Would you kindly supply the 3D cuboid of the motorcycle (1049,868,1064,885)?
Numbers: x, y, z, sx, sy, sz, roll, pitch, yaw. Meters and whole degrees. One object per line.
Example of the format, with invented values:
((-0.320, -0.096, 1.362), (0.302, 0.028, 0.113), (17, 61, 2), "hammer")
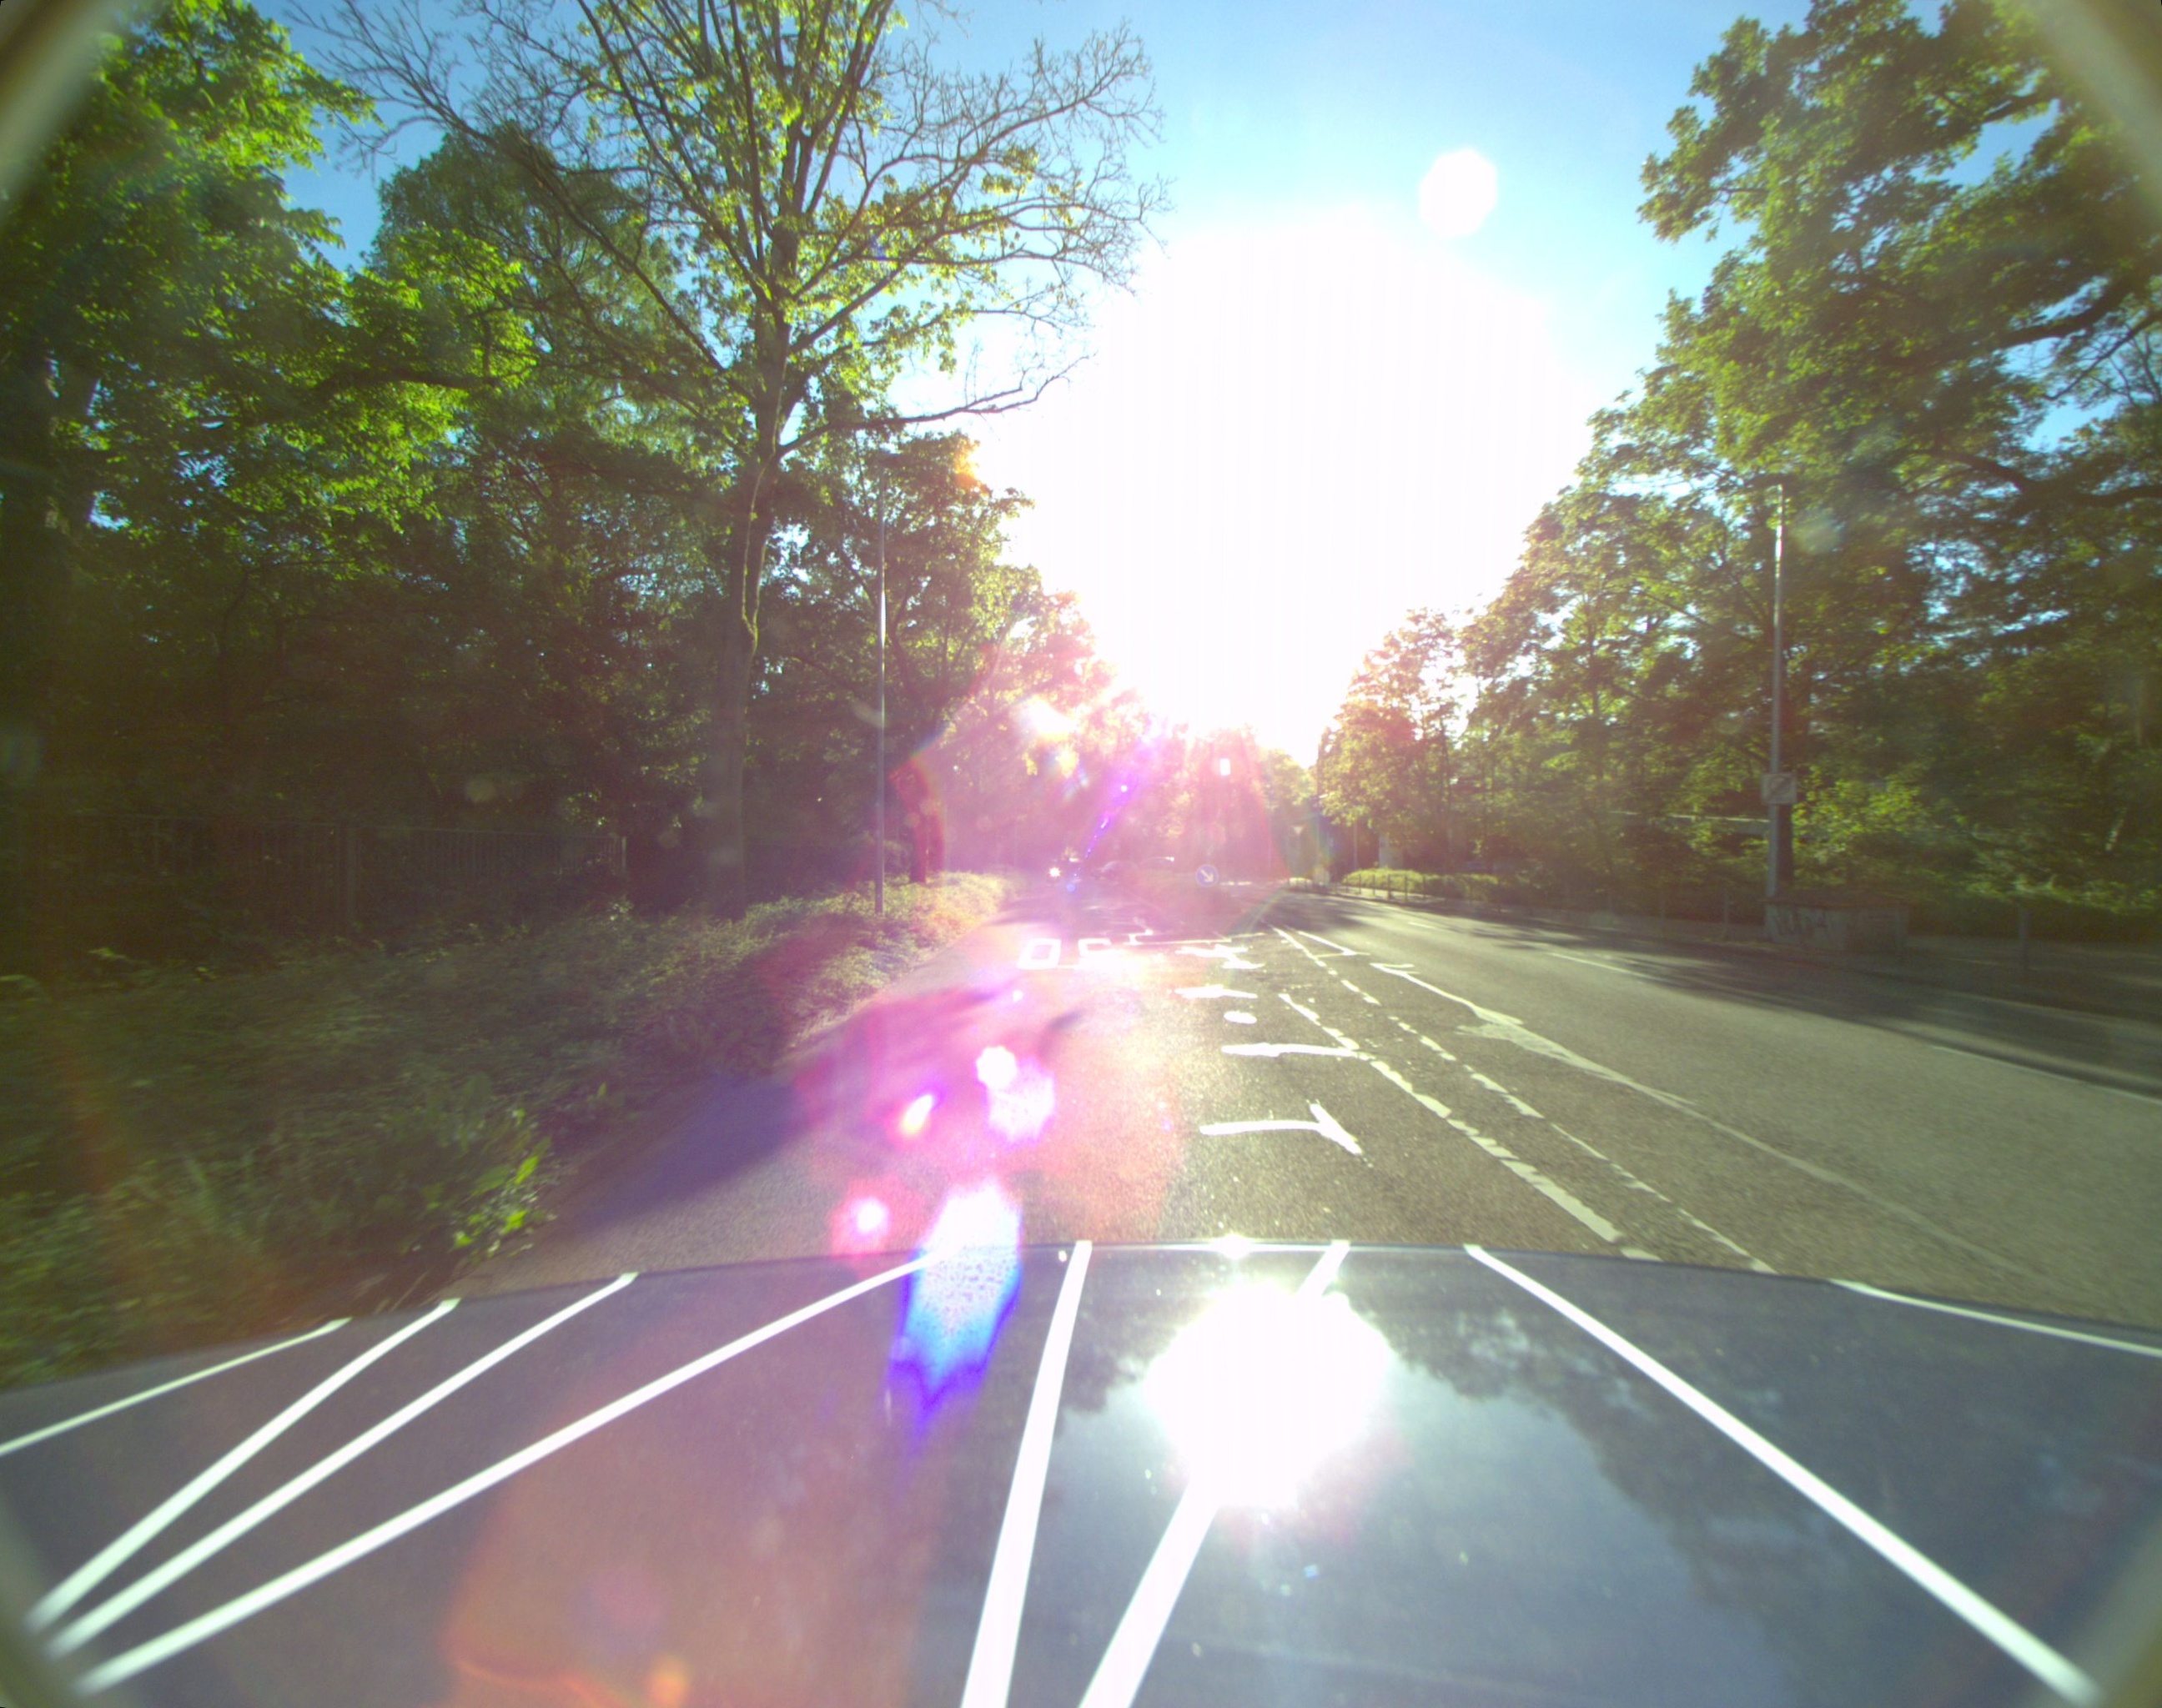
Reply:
((-1.421, 1.314, 44.680), (0.807, 0.907, 2.712), (-1, 0, 0), "motorcycle")

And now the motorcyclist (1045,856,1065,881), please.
((-1.519, 0.857, 44.872), (1.138, 1.419, 1.566), (-1, 0, 0), "motorcyclist")

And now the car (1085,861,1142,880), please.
((2.445, 1.225, 57.149), (4.008, 1.381, 1.864), (1, 0, -39), "car")
